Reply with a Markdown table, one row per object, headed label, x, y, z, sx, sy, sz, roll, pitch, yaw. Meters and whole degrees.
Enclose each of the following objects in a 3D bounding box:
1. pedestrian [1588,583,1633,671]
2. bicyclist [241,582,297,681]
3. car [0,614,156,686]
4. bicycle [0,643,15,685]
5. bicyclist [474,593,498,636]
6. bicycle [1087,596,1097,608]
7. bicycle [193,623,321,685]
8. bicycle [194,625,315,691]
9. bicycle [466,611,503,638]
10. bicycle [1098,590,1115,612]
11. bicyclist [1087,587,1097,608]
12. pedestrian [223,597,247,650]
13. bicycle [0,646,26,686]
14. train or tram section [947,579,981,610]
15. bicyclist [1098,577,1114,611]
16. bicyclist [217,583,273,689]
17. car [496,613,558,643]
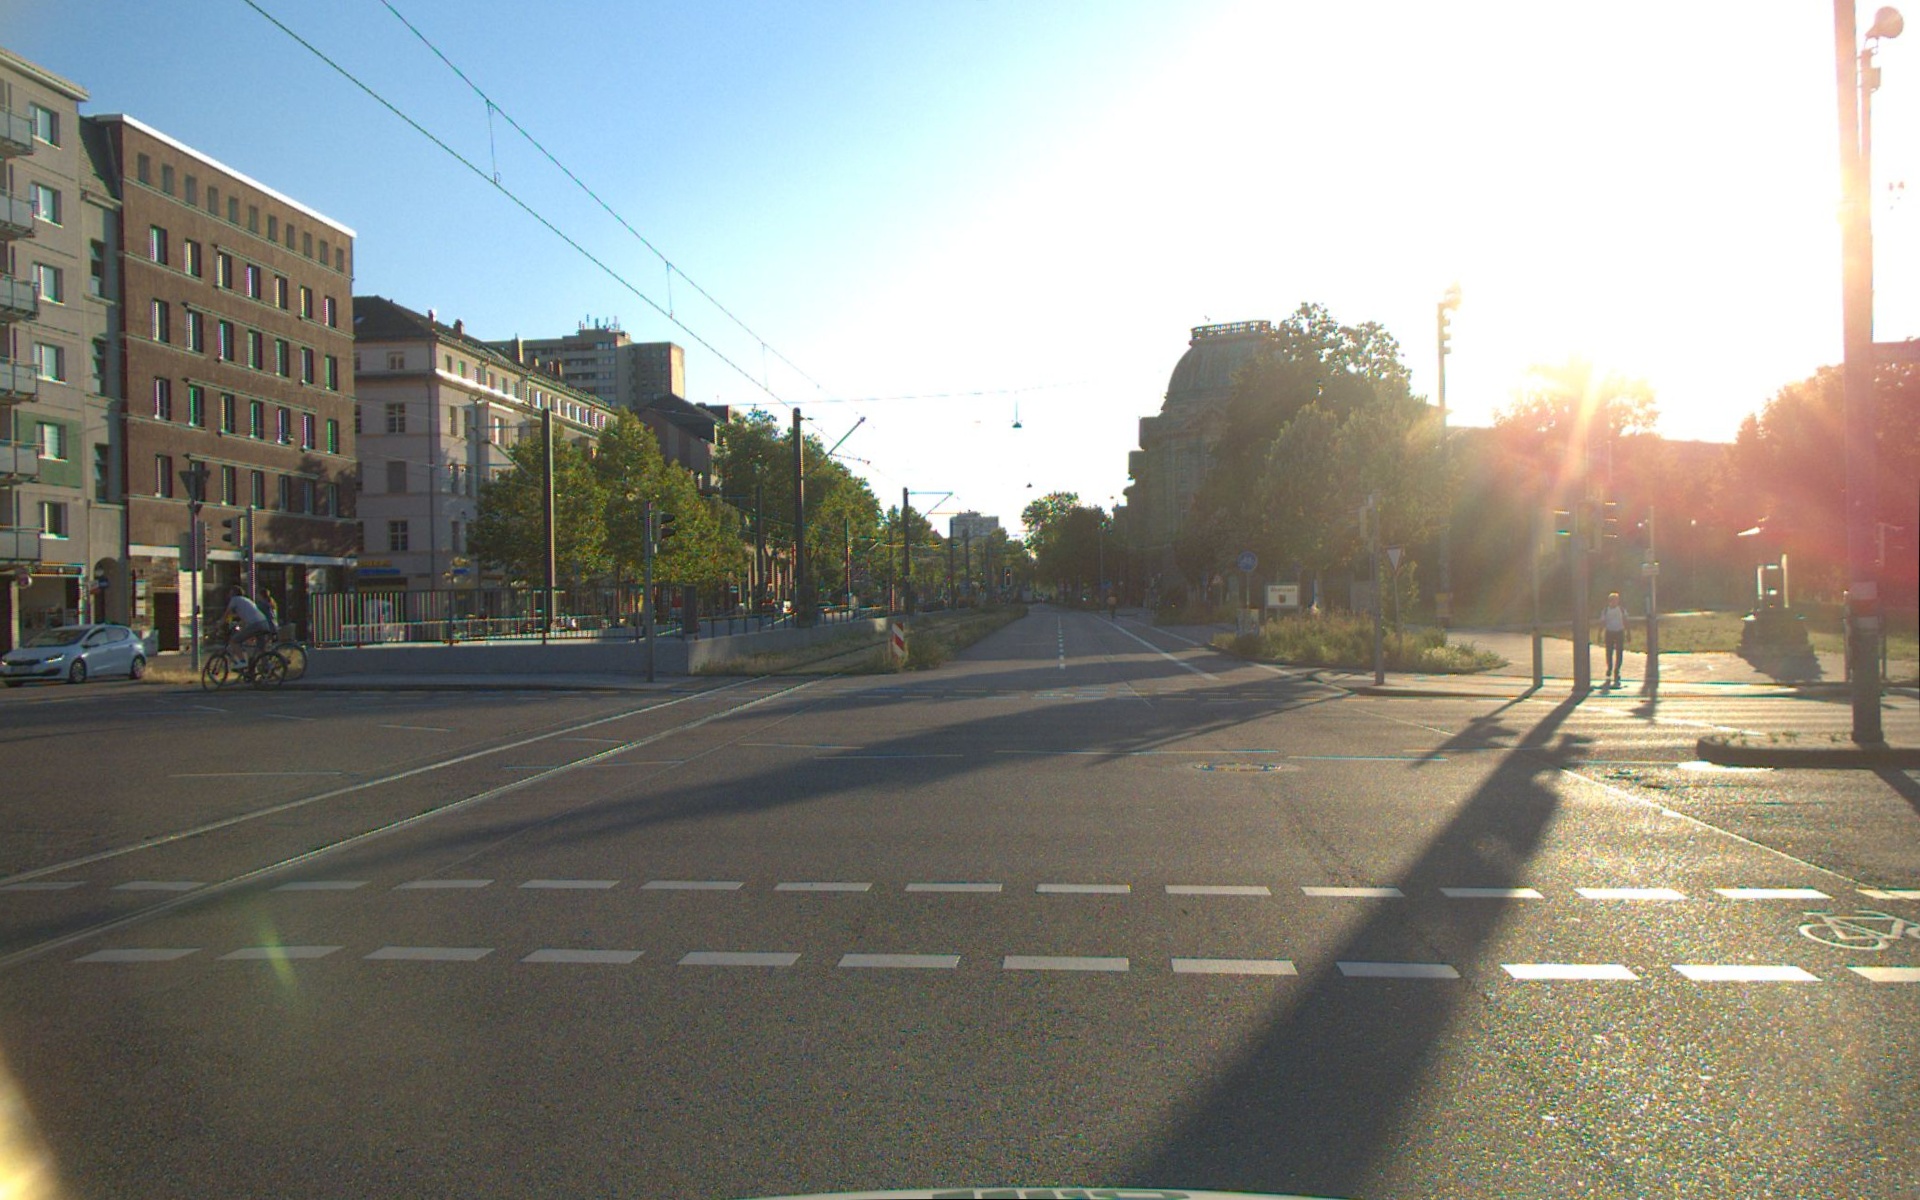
| label | x | y | z | sx | sy | sz | roll | pitch | yaw |
| --- | --- | --- | --- | --- | --- | --- | --- | --- | --- |
| pedestrian | 13.726 | 0.566 | 34.912 | 0.815 | 1.835 | 0.811 | -1 | 0 | 19 |
| bicyclist | -13.085 | 0.590 | 31.317 | 0.861 | 1.850 | 0.536 | -1 | 0 | -13 |
| car | -22.161 | 1.217 | 41.543 | 1.653 | 1.646 | 4.003 | -2 | 0 | 5 |
| bicycle | -28.709 | 1.881 | 48.415 | 1.655 | 1.190 | 0.749 | -1 | 0 | 6 |
| bicyclist | -22.616 | 0.694 | 78.909 | 0.780 | 2.049 | 0.924 | -1 | 0 | 6 |
| bicycle | 12.943 | 0.176 | 162.459 | 0.905 | 1.131 | 2.334 | -1 | 0 | 4 |
| bicycle | -13.270 | 1.009 | 31.267 | 2.127 | 1.102 | 0.537 | -1 | 0 | -14 |
| bicycle | -12.489 | 1.016 | 29.329 | 1.869 | 1.094 | 0.630 | -1 | 0 | -14 |
| bicycle | -22.631 | 1.149 | 78.762 | 0.795 | 1.222 | 2.414 | -1 | 0 | 6 |
| bicycle | 10.001 | 0.061 | 113.218 | 1.075 | 1.423 | 2.833 | -1 | 0 | 4 |
| bicyclist | 12.941 | -0.224 | 162.530 | 0.906 | 2.049 | 0.851 | -1 | 0 | 4 |
| pedestrian | -30.451 | 0.979 | 69.447 | 0.589 | 2.216 | 0.792 | -1 | 0 | 4 |
| bicycle | -28.764 | 1.968 | 49.156 | 1.655 | 1.164 | 0.697 | -1 | 0 | 6 |
| train or tram section | 0.475 | -0.703 | 220.274 | 4.296 | 3.917 | 11.409 | -1 | 0 | 0 |
| bicyclist | 9.992 | -0.389 | 113.235 | 1.059 | 2.316 | 0.987 | -1 | 0 | 4 |
| bicyclist | -12.652 | 0.628 | 29.288 | 0.779 | 1.850 | 0.644 | -1 | 0 | -15 |
| car | -23.247 | 1.490 | 88.944 | 1.781 | 1.445 | 4.003 | -1 | 0 | 7 |
